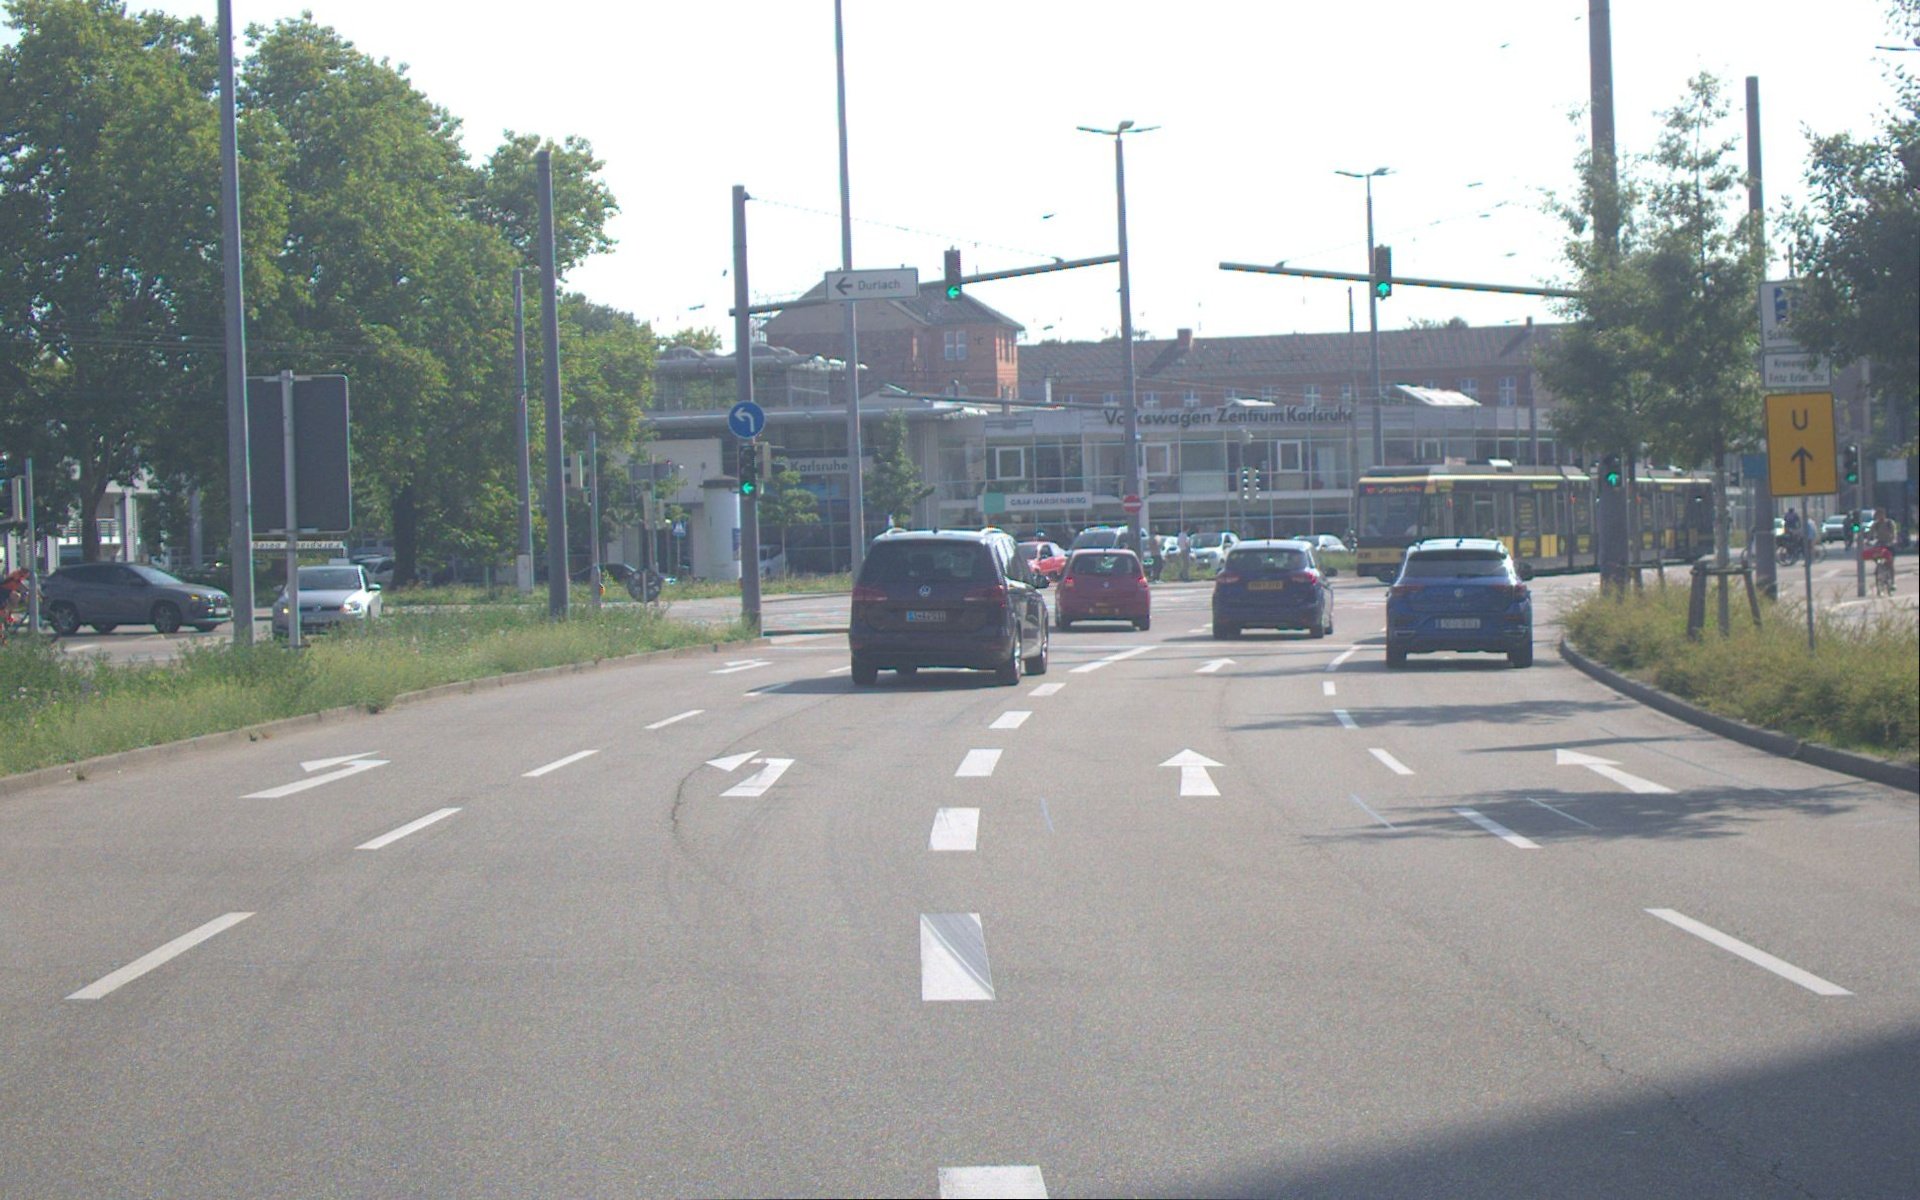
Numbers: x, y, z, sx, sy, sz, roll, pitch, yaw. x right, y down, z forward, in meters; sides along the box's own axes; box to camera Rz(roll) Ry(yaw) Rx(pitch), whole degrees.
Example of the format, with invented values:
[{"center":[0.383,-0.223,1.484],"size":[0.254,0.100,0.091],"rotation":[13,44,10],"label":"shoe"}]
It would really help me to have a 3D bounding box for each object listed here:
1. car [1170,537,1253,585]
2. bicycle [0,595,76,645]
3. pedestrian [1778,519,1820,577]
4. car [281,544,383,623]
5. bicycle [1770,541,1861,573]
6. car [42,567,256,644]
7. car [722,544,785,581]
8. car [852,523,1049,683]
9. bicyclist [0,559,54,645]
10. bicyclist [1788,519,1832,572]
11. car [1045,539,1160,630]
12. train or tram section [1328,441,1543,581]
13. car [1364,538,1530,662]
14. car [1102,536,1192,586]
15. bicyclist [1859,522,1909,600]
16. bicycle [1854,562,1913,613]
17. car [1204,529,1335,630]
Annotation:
[{"center":[8.572,-1.335,116.859],"size":[1.616,1.470,3.996],"rotation":[-3,0,22],"label":"car"},{"center":[-18.220,0.394,66.996],"size":[1.812,0.929,0.726],"rotation":[-1,1,-4],"label":"bicycle"},{"center":[26.358,-1.628,108.022],"size":[0.925,1.791,0.860],"rotation":[-2,1,-34],"label":"pedestrian"},{"center":[-12.022,-0.326,65.660],"size":[1.813,1.428,4.226],"rotation":[-2,1,-11],"label":"car"},{"center":[27.554,-1.397,110.717],"size":[2.617,0.961,1.093],"rotation":[-2,1,-17],"label":"bicycle"},{"center":[-18.532,0.126,78.594],"size":[4.450,1.612,1.698],"rotation":[-1,1,14],"label":"car"},{"center":[-8.993,-1.641,149.901],"size":[1.700,1.517,4.097],"rotation":[-1,1,11],"label":"car"},{"center":[-0.051,-0.017,39.199],"size":[1.826,1.708,4.412],"rotation":[-1,1,5],"label":"car"},{"center":[-18.200,0.033,66.994],"size":[0.881,1.646,0.726],"rotation":[-1,1,-4],"label":"bicyclist"},{"center":[27.361,-1.758,110.649],"size":[0.933,1.674,1.093],"rotation":[-2,1,-16],"label":"bicyclist"},{"center":[2.634,-0.311,62.685],"size":[1.826,1.530,4.412],"rotation":[-2,1,5],"label":"car"},{"center":[13.623,-2.558,97.544],"size":[2.658,3.686,10.574],"rotation":[-1,1,27],"label":"train or tram section"},{"center":[6.134,-0.040,43.695],"size":[1.826,1.423,4.412],"rotation":[-2,1,5],"label":"car"},{"center":[6.055,-1.267,111.002],"size":[1.616,1.470,3.996],"rotation":[-3,0,22],"label":"car"},{"center":[18.282,-0.772,68.027],"size":[0.720,1.508,1.003],"rotation":[-1,1,27],"label":"bicyclist"},{"center":[18.260,-0.245,67.974],"size":[0.720,0.956,1.919],"rotation":[-1,1,27],"label":"bicycle"},{"center":[5.142,-0.372,56.665],"size":[1.826,1.530,4.411],"rotation":[-2,1,9],"label":"car"}]
